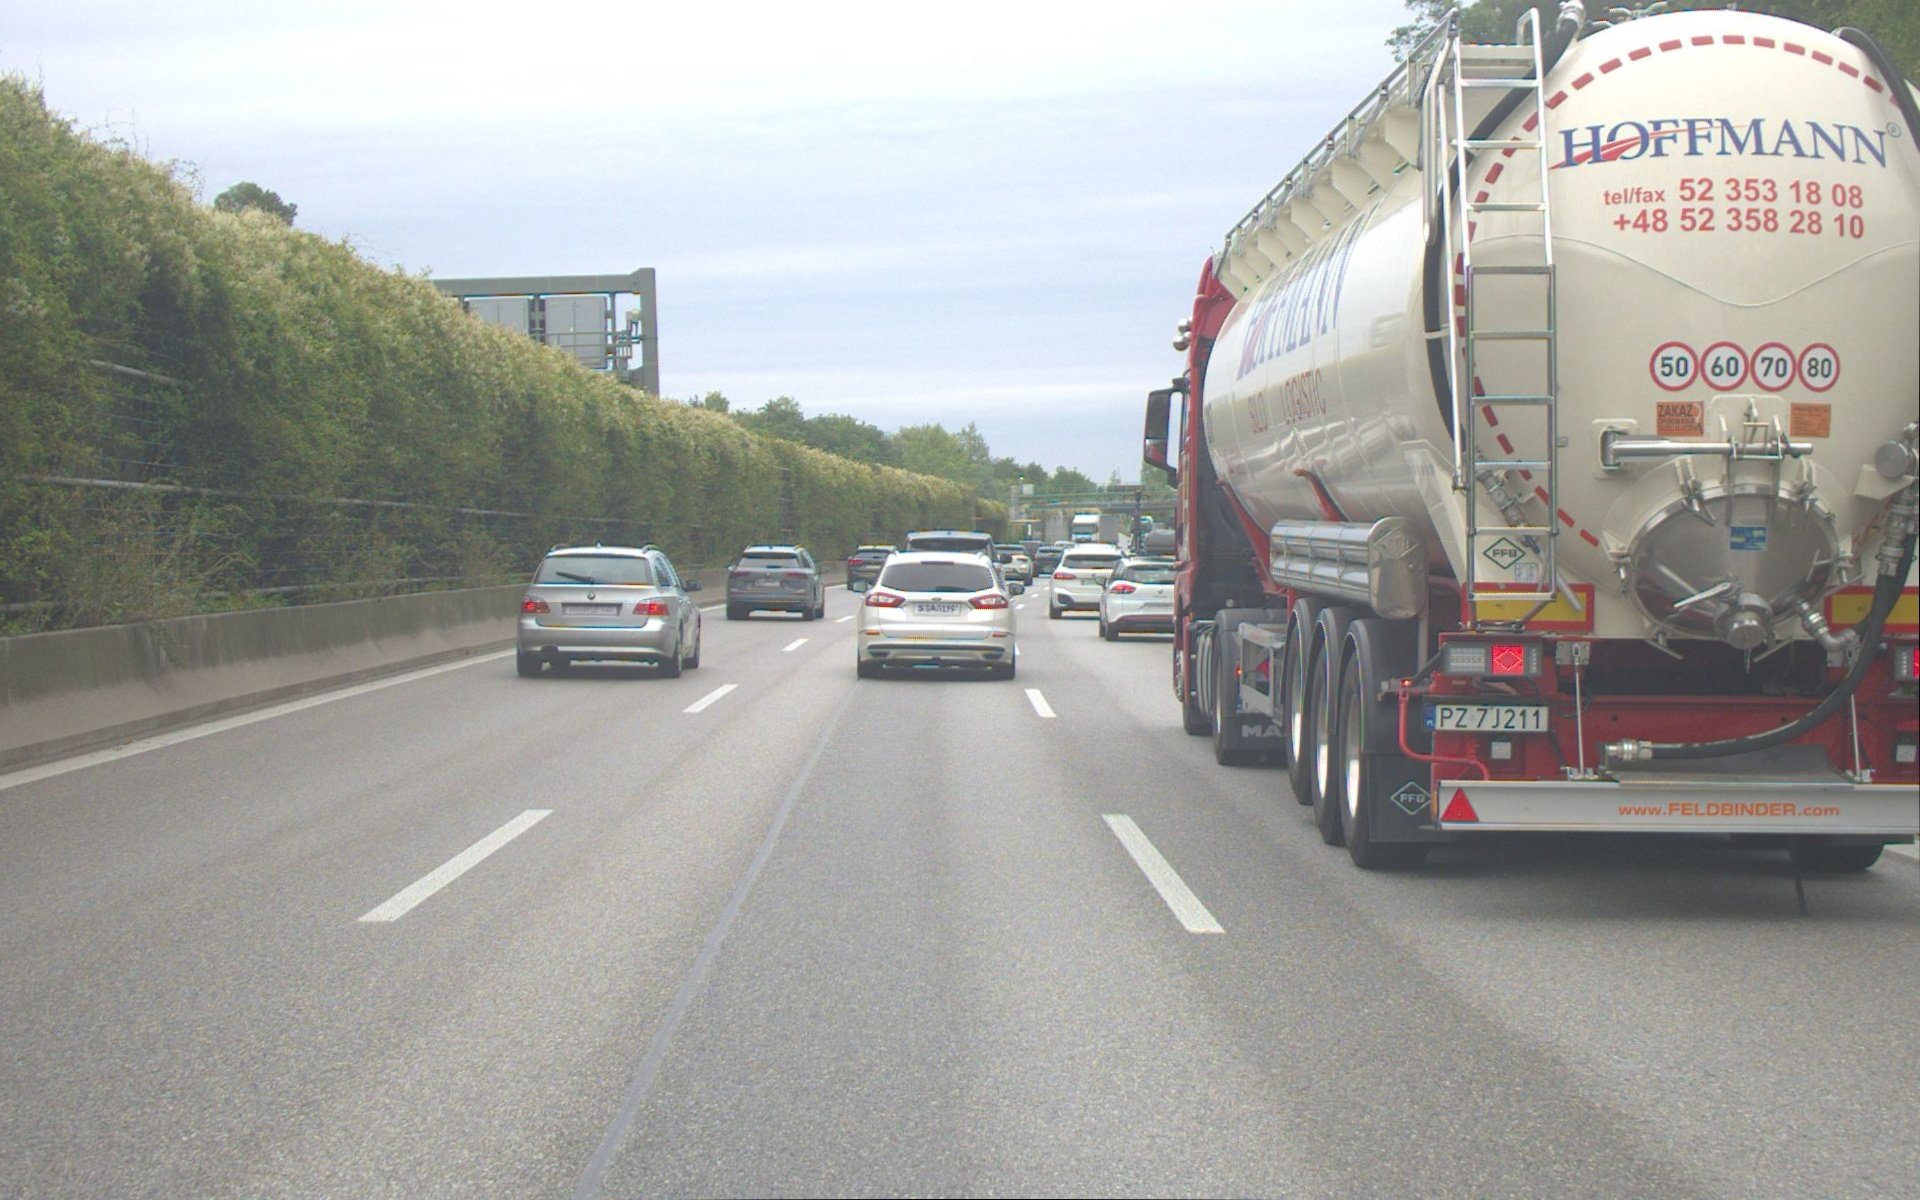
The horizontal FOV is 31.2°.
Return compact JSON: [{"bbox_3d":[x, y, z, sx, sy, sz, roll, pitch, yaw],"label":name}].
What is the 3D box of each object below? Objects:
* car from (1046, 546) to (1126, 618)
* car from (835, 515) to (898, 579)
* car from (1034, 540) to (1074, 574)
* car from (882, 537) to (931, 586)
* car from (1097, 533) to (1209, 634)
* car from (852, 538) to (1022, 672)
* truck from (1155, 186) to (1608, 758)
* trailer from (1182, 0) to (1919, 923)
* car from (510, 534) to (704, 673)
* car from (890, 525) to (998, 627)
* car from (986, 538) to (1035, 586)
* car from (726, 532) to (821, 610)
[{"bbox_3d":[2.748,-0.407,74.996,1.689,1.501,3.871,0,1,2],"label":"car"},{"bbox_3d":[-2.989,-1.723,111.004,1.993,2.007,3.841,0,1,-1],"label":"car"},{"bbox_3d":[4.362,-1.990,159.243,1.689,1.534,3.871,0,1,4],"label":"car"},{"bbox_3d":[-2.236,-1.622,142.714,1.993,2.007,4.000,0,1,-1],"label":"car"},{"bbox_3d":[3.233,-0.312,58.367,1.816,1.620,5.030,0,1,2],"label":"car"},{"bbox_3d":[-0.250,0.013,40.998,1.892,1.499,5.030,0,1,0],"label":"car"},{"bbox_3d":[3.070,-0.913,26.825,2.695,3.899,6.556,0,1,0],"label":"truck"},{"bbox_3d":[3.082,-0.782,19.985,2.668,3.925,13.130,0,1,0],"label":"trailer"},{"bbox_3d":[-4.042,-0.011,40.024,1.720,1.464,5.030,0,2,0],"label":"car"},{"bbox_3d":[-0.264,-0.441,59.041,1.689,1.501,3.872,4,2,0],"label":"car"},{"bbox_3d":[1.914,-1.449,129.874,1.790,1.773,3.871,0,1,1],"label":"car"},{"bbox_3d":[-3.715,-0.610,69.114,1.720,1.507,5.030,0,1,-1],"label":"car"}]
